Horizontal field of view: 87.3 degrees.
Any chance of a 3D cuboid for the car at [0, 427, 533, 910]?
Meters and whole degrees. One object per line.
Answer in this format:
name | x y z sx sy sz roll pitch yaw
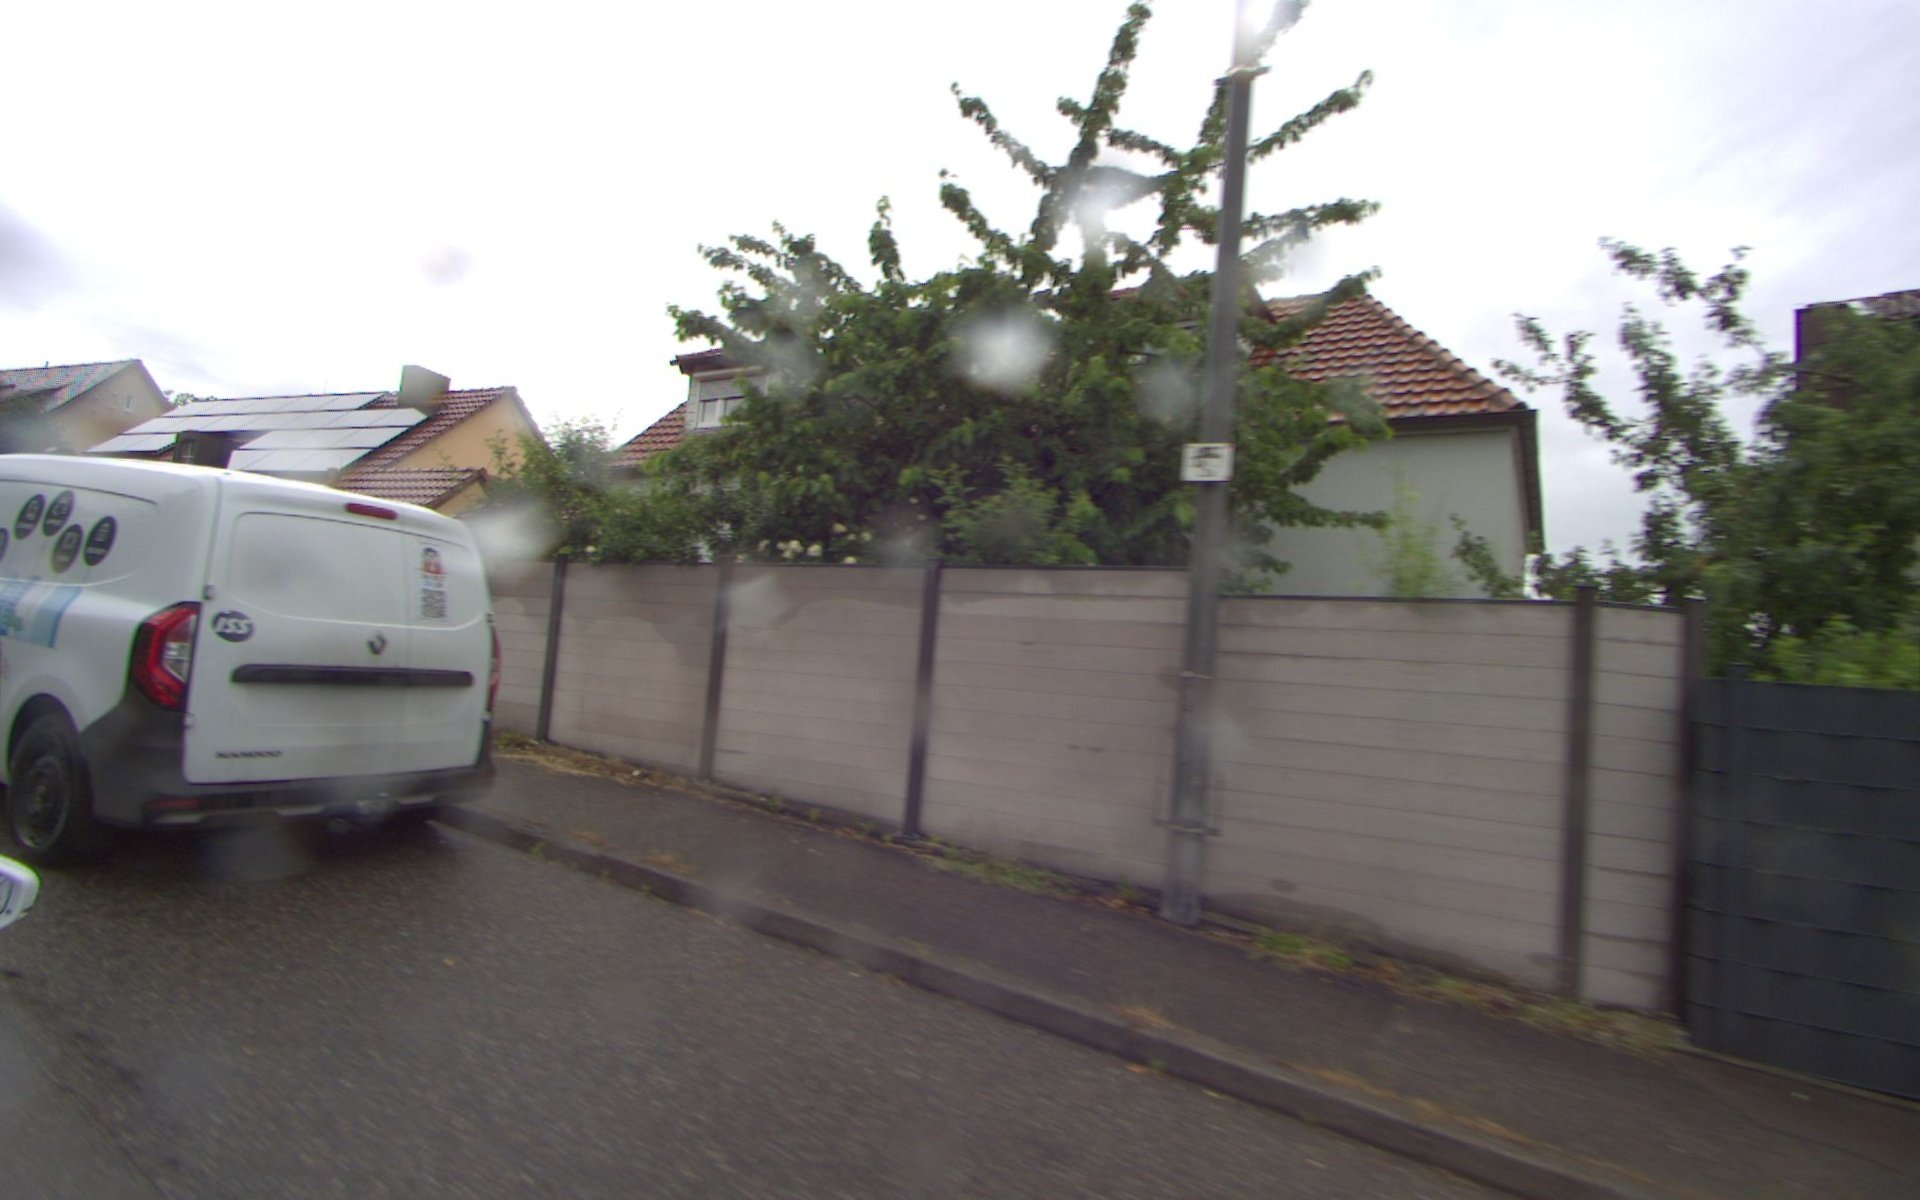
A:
car | -4.850 0.128 5.680 4.625 1.824 1.784 6 -2 27
